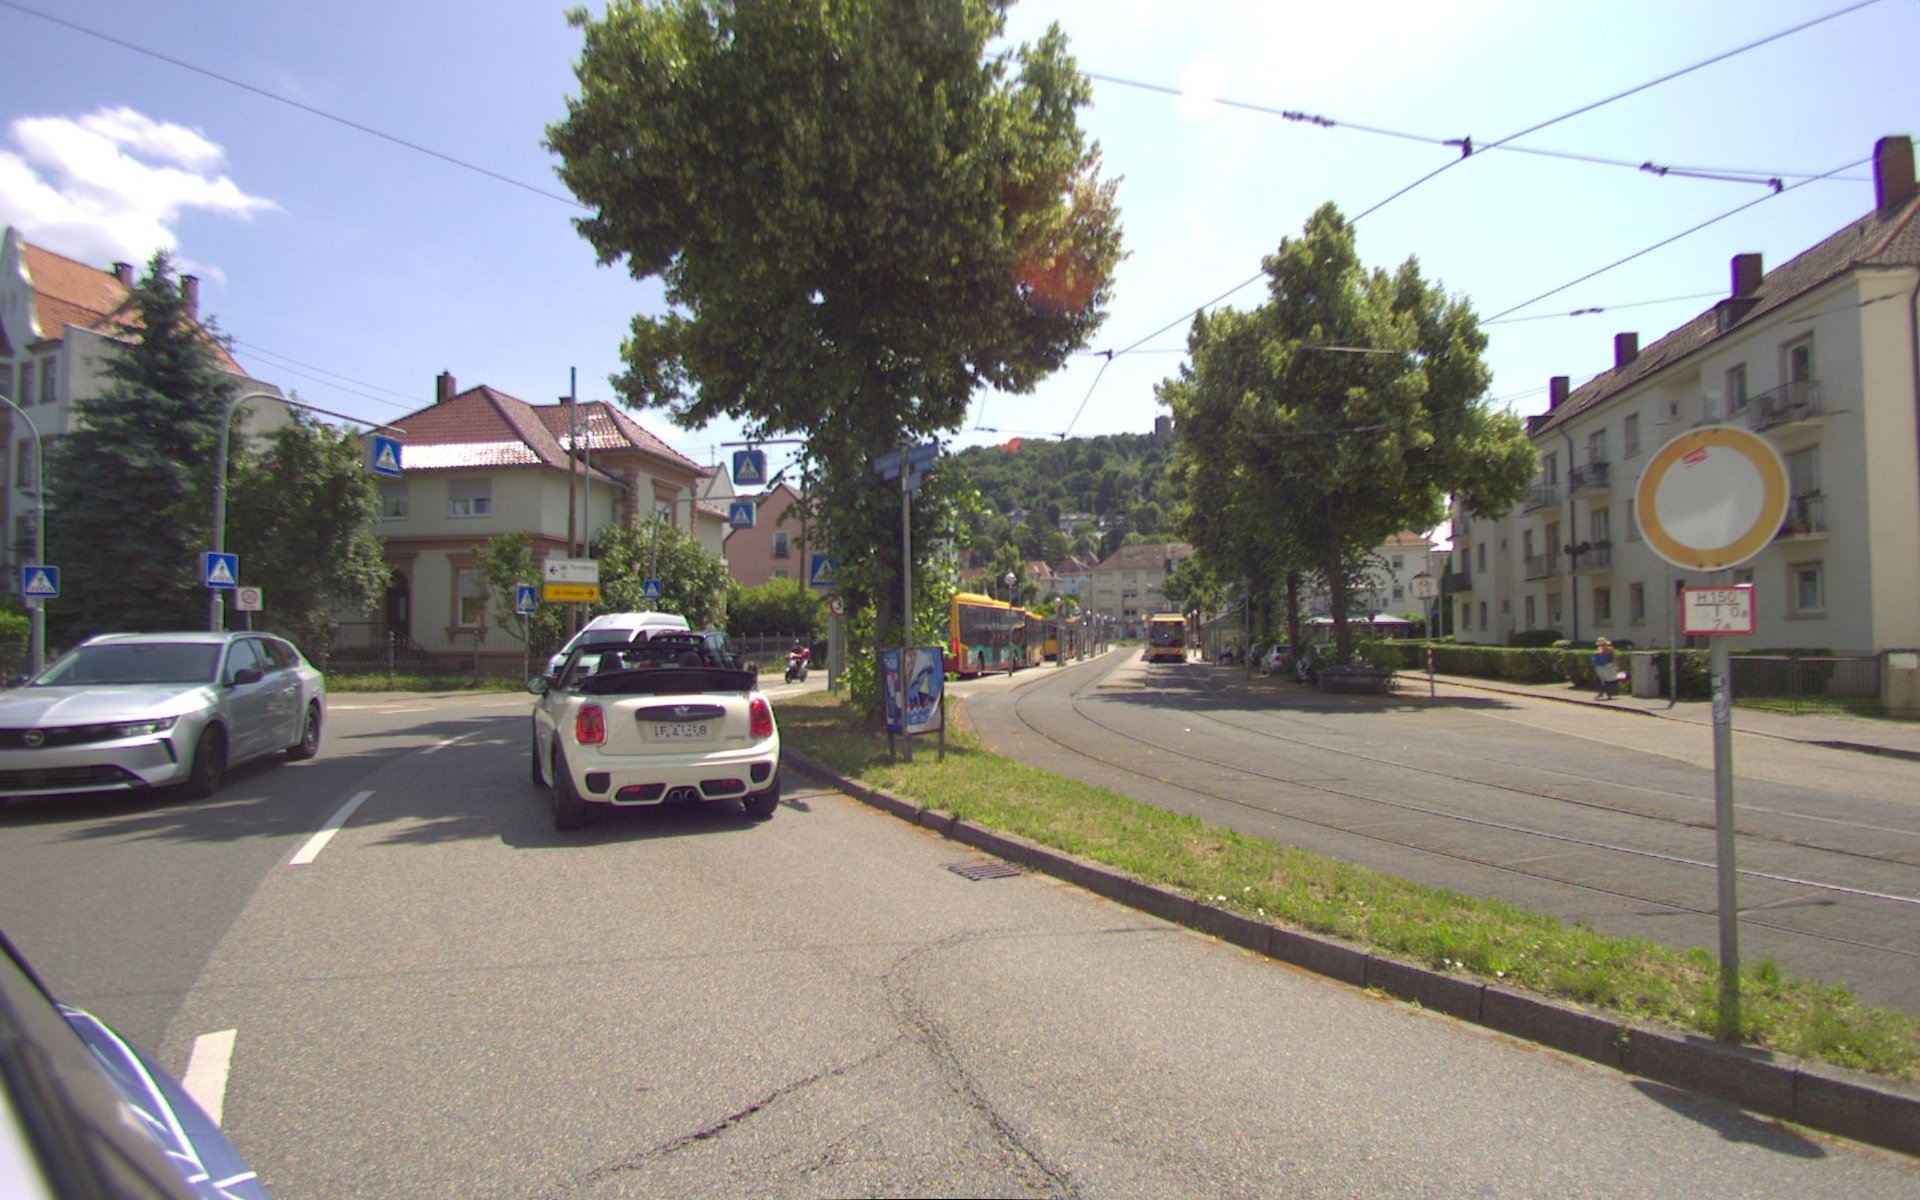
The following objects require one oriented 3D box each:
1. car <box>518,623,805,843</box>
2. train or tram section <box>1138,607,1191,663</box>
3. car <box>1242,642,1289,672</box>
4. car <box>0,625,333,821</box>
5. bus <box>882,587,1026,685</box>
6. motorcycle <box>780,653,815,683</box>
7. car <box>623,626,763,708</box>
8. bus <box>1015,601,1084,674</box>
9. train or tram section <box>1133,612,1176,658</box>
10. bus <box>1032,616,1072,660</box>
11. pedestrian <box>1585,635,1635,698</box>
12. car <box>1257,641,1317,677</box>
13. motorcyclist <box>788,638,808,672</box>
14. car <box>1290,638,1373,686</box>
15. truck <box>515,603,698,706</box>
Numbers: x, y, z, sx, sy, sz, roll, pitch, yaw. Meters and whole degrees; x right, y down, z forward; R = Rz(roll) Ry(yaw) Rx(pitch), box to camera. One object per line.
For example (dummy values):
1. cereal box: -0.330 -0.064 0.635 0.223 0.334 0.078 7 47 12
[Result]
1. car: -2.798 0.964 8.884 1.748 1.475 3.759 1 -2 -27
2. train or tram section: 14.434 2.485 72.336 2.866 3.547 13.865 -1 -2 8
3. car: 16.103 2.991 53.580 1.824 1.494 3.862 -1 -2 9
4. car: -7.717 0.988 9.763 1.772 1.477 4.183 0 -1 -16
5. bus: 0.092 1.488 40.012 2.684 3.322 10.799 -2 -3 16
6. motorcycle: -6.018 2.527 37.562 0.664 1.066 1.426 -1 -3 21
7. car: -5.863 1.480 22.799 1.837 1.644 4.325 0 -3 2
8. bus: 5.226 2.177 56.848 2.668 3.635 12.164 -1 -3 11
9. train or tram section: 16.429 2.942 86.075 2.866 3.547 13.865 -1 -2 8
10. bus: 7.378 3.056 80.371 2.547 3.213 10.127 -1 -3 9
11. pedestrian: 16.627 1.687 25.903 0.768 1.572 0.742 -1 -3 9
12. car: 14.274 2.531 44.346 1.824 1.494 4.246 -1 -2 9
13. motorcyclist: -6.019 2.048 37.555 0.537 1.252 0.551 -1 -3 21
14. car: 12.310 2.020 33.803 1.824 1.494 3.944 -1 -2 9
15. truck: -8.676 1.374 25.483 1.999 2.266 5.390 -2 -3 10
